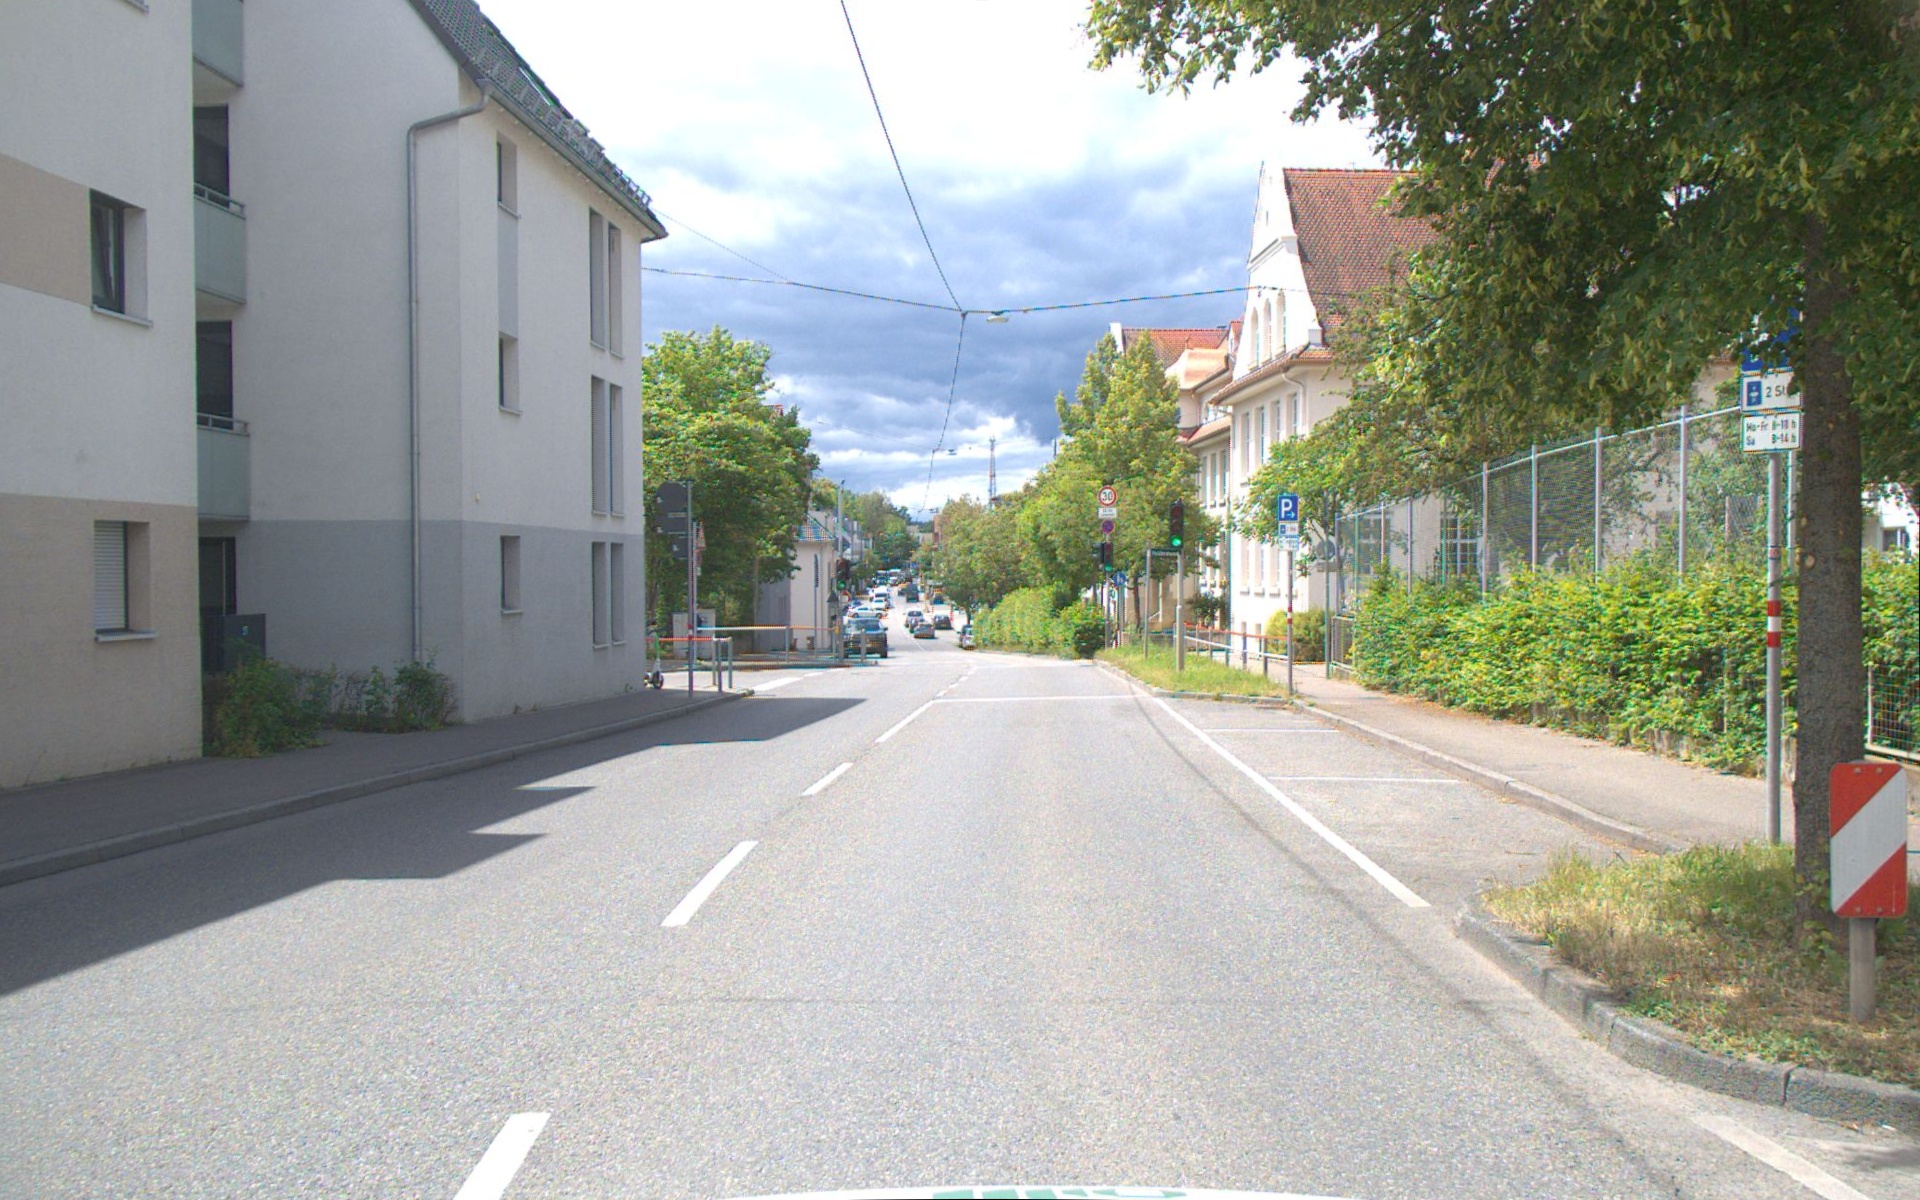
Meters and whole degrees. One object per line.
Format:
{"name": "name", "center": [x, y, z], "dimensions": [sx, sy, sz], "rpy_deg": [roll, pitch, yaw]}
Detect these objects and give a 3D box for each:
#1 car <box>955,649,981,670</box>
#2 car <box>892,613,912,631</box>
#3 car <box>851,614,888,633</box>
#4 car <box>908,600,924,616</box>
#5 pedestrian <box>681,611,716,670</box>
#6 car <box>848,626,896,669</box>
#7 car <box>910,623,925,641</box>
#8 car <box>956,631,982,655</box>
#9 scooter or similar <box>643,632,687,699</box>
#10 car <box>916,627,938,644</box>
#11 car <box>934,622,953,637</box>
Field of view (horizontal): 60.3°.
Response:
{"name": "car", "center": [0.562, 4.435, 123.492], "dimensions": [1.750, 1.536, 4.362], "rpy_deg": [0, -1, -3]}
{"name": "car", "center": [-6.083, 2.273, 172.239], "dimensions": [1.801, 1.894, 3.844], "rpy_deg": [0, -1, -7]}
{"name": "car", "center": [-10.441, 2.730, 190.752], "dimensions": [3.915, 2.049, 1.995], "rpy_deg": [1, -1, -11]}
{"name": "car", "center": [-6.791, 1.228, 254.016], "dimensions": [2.388, 2.359, 5.323], "rpy_deg": [0, -1, -3]}
{"name": "pedestrian", "center": [-7.316, 1.123, 46.207], "dimensions": [0.763, 1.625, 0.664], "rpy_deg": [1, -1, -32]}
{"name": "car", "center": [-3.536, 1.907, 66.852], "dimensions": [1.759, 1.638, 4.644], "rpy_deg": [0, -1, -1]}
{"name": "car", "center": [-4.231, 3.143, 163.964], "dimensions": [1.249, 1.554, 3.047], "rpy_deg": [-1, 2, -6]}
{"name": "car", "center": [0.713, 3.336, 129.289], "dimensions": [1.807, 1.799, 4.512], "rpy_deg": [0, -1, -3]}
{"name": "scooter or similar", "center": [-5.811, 1.269, 32.498], "dimensions": [0.483, 1.284, 1.296], "rpy_deg": [0, -1, -27]}
{"name": "car", "center": [-3.094, 3.300, 154.112], "dimensions": [1.710, 1.441, 3.996], "rpy_deg": [3, -1, -4]}
{"name": "car", "center": [-1.682, 3.027, 170.043], "dimensions": [1.718, 1.394, 3.997], "rpy_deg": [0, 2, -5]}
